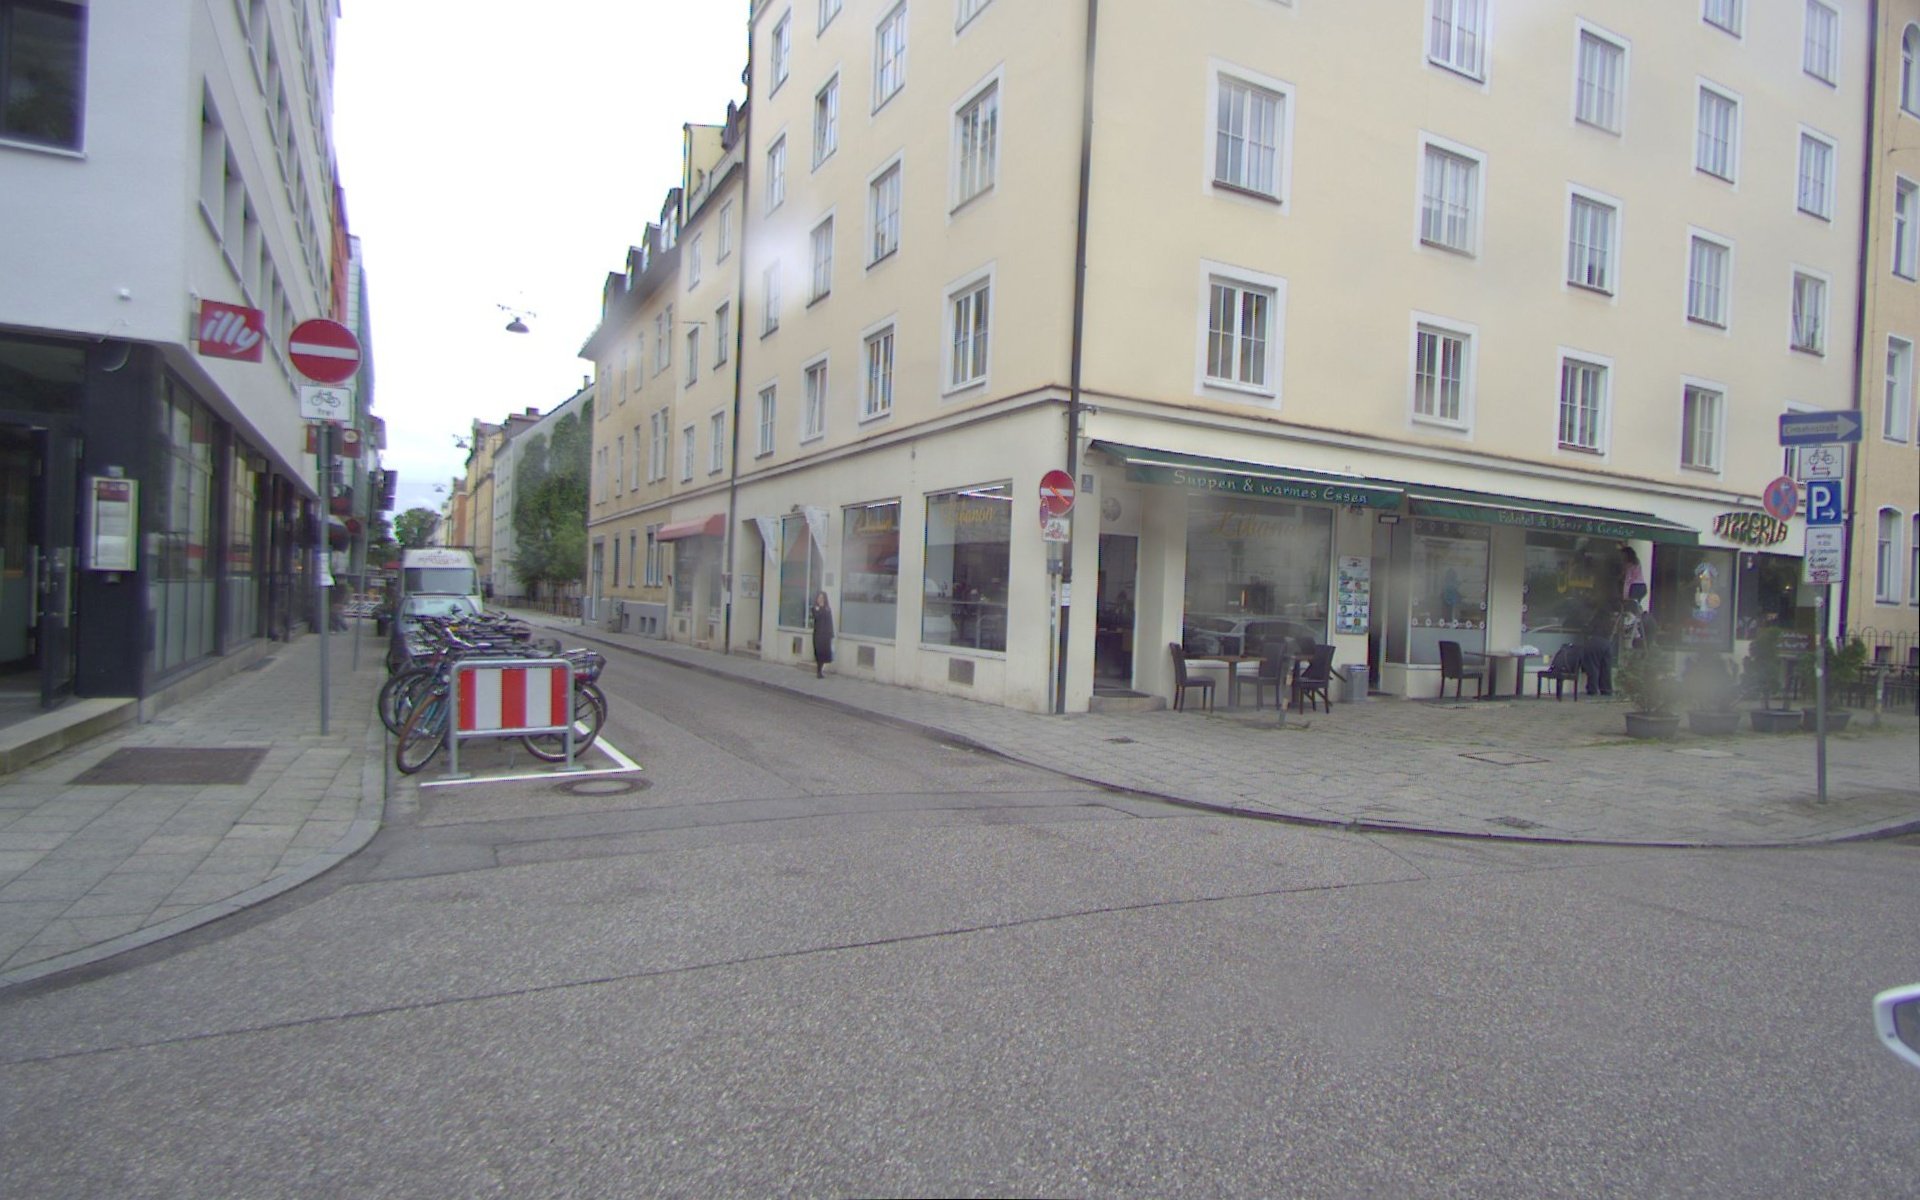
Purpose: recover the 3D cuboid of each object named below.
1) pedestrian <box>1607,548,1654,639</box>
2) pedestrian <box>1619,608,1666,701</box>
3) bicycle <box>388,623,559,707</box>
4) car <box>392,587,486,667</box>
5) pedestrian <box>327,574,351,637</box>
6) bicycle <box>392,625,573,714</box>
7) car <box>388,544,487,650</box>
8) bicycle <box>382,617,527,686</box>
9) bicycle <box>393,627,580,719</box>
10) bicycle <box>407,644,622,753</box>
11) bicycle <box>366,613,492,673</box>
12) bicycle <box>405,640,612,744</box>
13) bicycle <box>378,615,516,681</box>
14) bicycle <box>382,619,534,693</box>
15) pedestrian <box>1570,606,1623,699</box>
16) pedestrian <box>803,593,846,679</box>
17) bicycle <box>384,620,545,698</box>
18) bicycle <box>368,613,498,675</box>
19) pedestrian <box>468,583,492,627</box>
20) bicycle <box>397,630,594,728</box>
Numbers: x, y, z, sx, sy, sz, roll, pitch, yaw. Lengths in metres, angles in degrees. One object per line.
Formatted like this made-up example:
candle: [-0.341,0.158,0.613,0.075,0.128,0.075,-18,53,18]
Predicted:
pedestrian: [12.491,-0.116,18.710,0.490,1.664,0.476,2,0,-21]
pedestrian: [12.972,1.032,19.096,0.567,1.712,0.460,2,0,-26]
bicycle: [-6.054,0.808,12.561,1.873,0.981,0.395,3,0,-32]
car: [-10.437,0.499,20.009,1.473,1.426,3.662,3,-1,-30]
pedestrian: [-17.840,0.154,28.852,0.516,1.762,0.489,2,0,-30]
bicycle: [-5.636,0.817,11.912,1.873,0.981,0.395,3,0,-32]
car: [-13.869,-0.132,26.437,1.942,2.420,6.431,3,0,-30]
bicycle: [-7.551,0.781,15.050,1.873,0.981,0.395,3,0,-32]
bicycle: [-5.384,0.829,11.484,1.873,0.981,0.395,3,0,-32]
bicycle: [-4.357,0.954,9.907,1.873,0.981,0.395,3,0,-32]
bicycle: [-9.166,0.752,17.371,1.873,0.981,0.395,3,0,-32]
bicycle: [-4.589,0.927,10.281,1.873,0.981,0.395,3,0,-32]
bicycle: [-8.020,0.767,15.754,1.873,0.981,0.395,3,0,-32]
bicycle: [-7.119,0.800,14.298,1.873,0.981,0.395,3,0,-32]
pedestrian: [11.776,0.970,18.587,0.621,1.664,0.520,2,0,-26]
pedestrian: [-2.591,0.680,19.210,0.630,1.582,0.605,2,0,-22]
bicycle: [-6.619,0.799,13.468,1.873,0.981,0.395,3,0,-32]
bicycle: [-8.800,0.749,16.814,1.873,0.981,0.395,3,0,-32]
pedestrian: [-23.081,0.237,48.275,0.864,2.040,0.878,2,0,-35]
bicycle: [-4.999,0.847,10.877,1.873,0.981,0.395,3,0,-32]
